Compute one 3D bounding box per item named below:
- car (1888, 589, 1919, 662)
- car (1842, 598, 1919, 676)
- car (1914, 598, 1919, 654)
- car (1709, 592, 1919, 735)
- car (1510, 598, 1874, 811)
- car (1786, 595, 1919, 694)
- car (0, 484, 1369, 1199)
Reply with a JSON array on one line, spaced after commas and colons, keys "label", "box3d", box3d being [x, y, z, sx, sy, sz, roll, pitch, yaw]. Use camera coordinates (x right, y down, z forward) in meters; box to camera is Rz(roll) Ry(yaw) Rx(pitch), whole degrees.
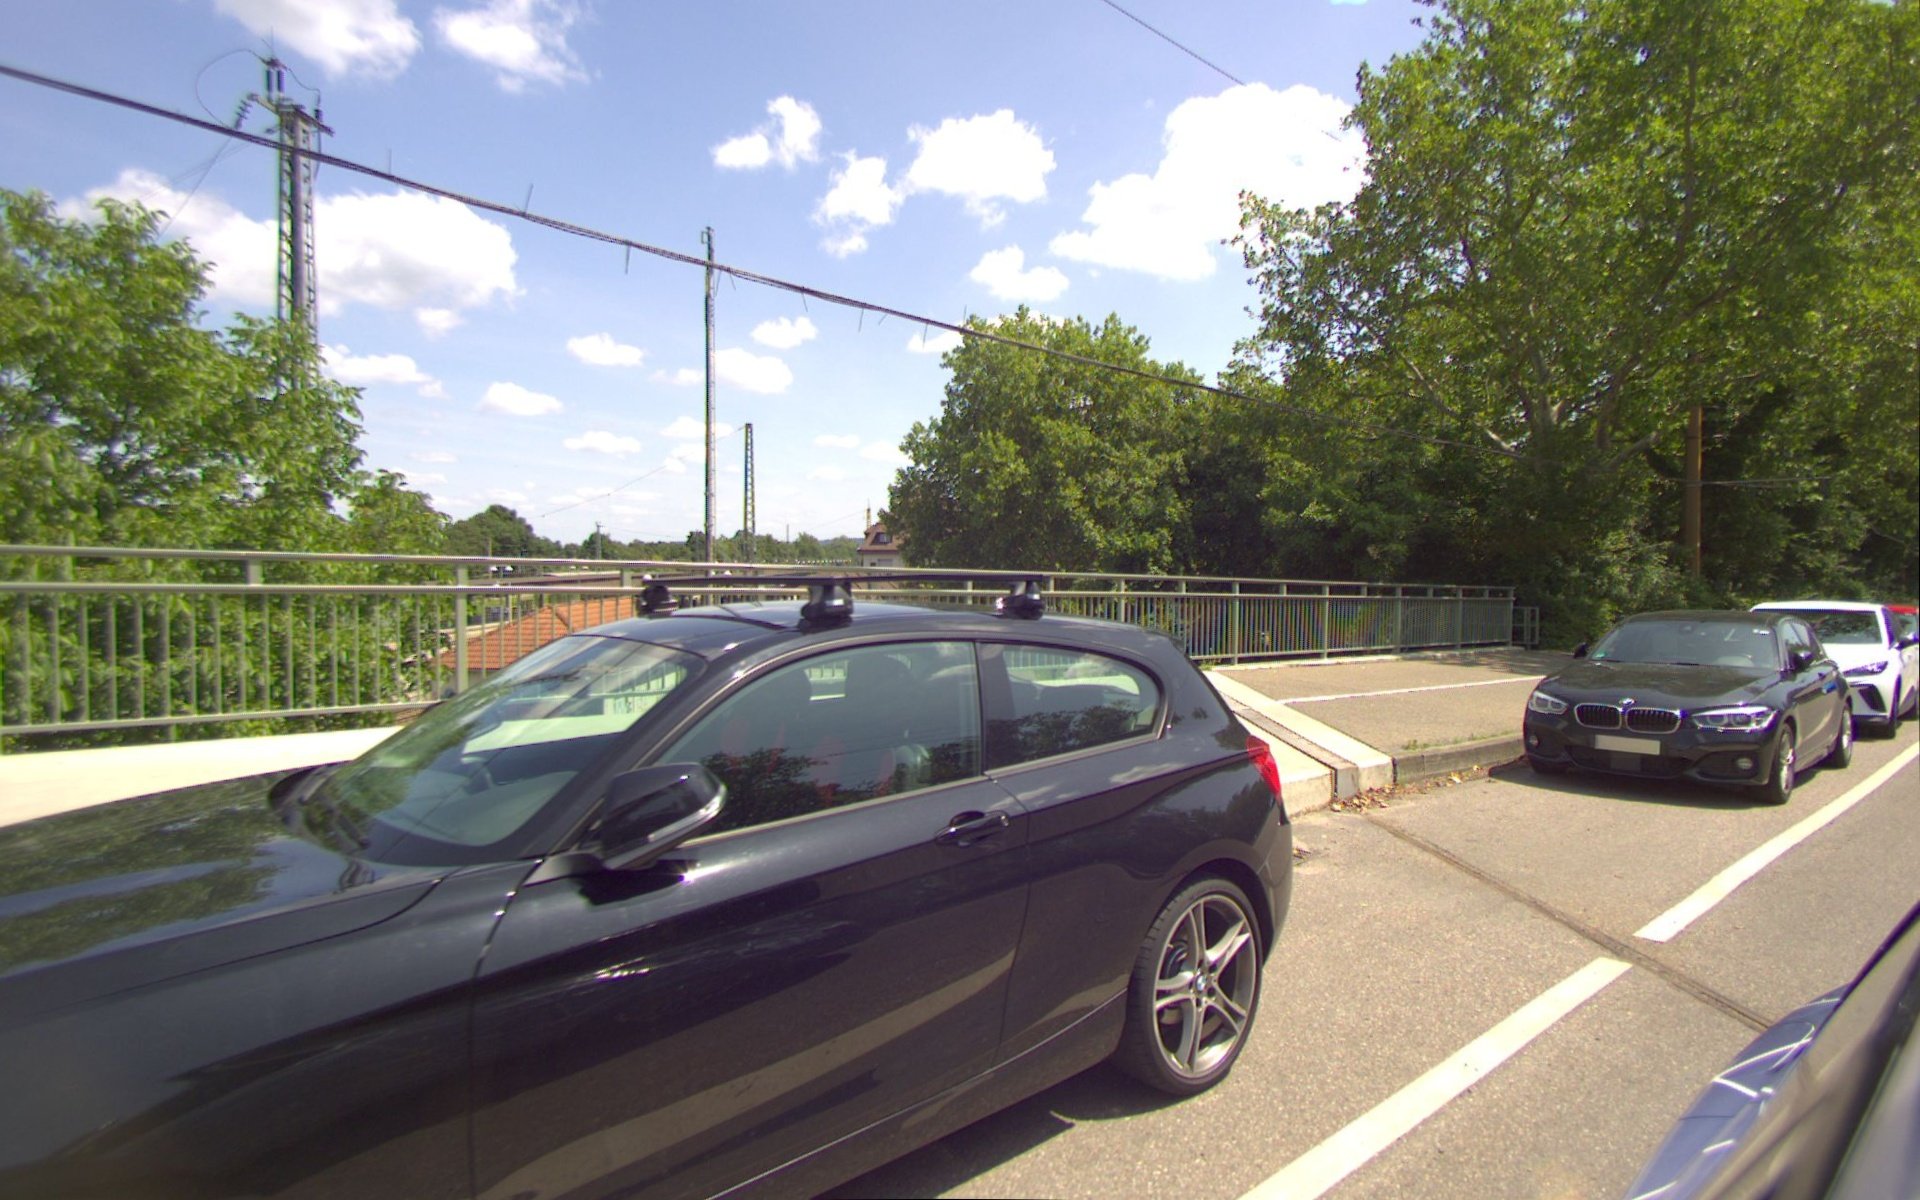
[{"label": "car", "box3d": [23.311, 0.577, 23.683, 4.170, 1.644, 1.797, 0, 0, -40]}, {"label": "car", "box3d": [19.341, 0.686, 20.325, 4.170, 1.449, 1.829, 0, 0, -40]}, {"label": "car", "box3d": [27.017, 0.685, 26.983, 4.170, 1.449, 1.829, 0, 0, -40]}, {"label": "car", "box3d": [10.851, 0.657, 12.522, 4.086, 1.450, 1.682, 0, 1, -41]}, {"label": "car", "box3d": [6.428, 0.709, 8.759, 3.634, 1.407, 1.758, 0, 1, -41]}, {"label": "car", "box3d": [15.291, 0.655, 16.686, 4.170, 1.449, 1.829, 0, 0, -40]}, {"label": "car", "box3d": [-0.791, 0.609, 2.795, 4.085, 1.577, 1.829, 0, 2, -40]}]
